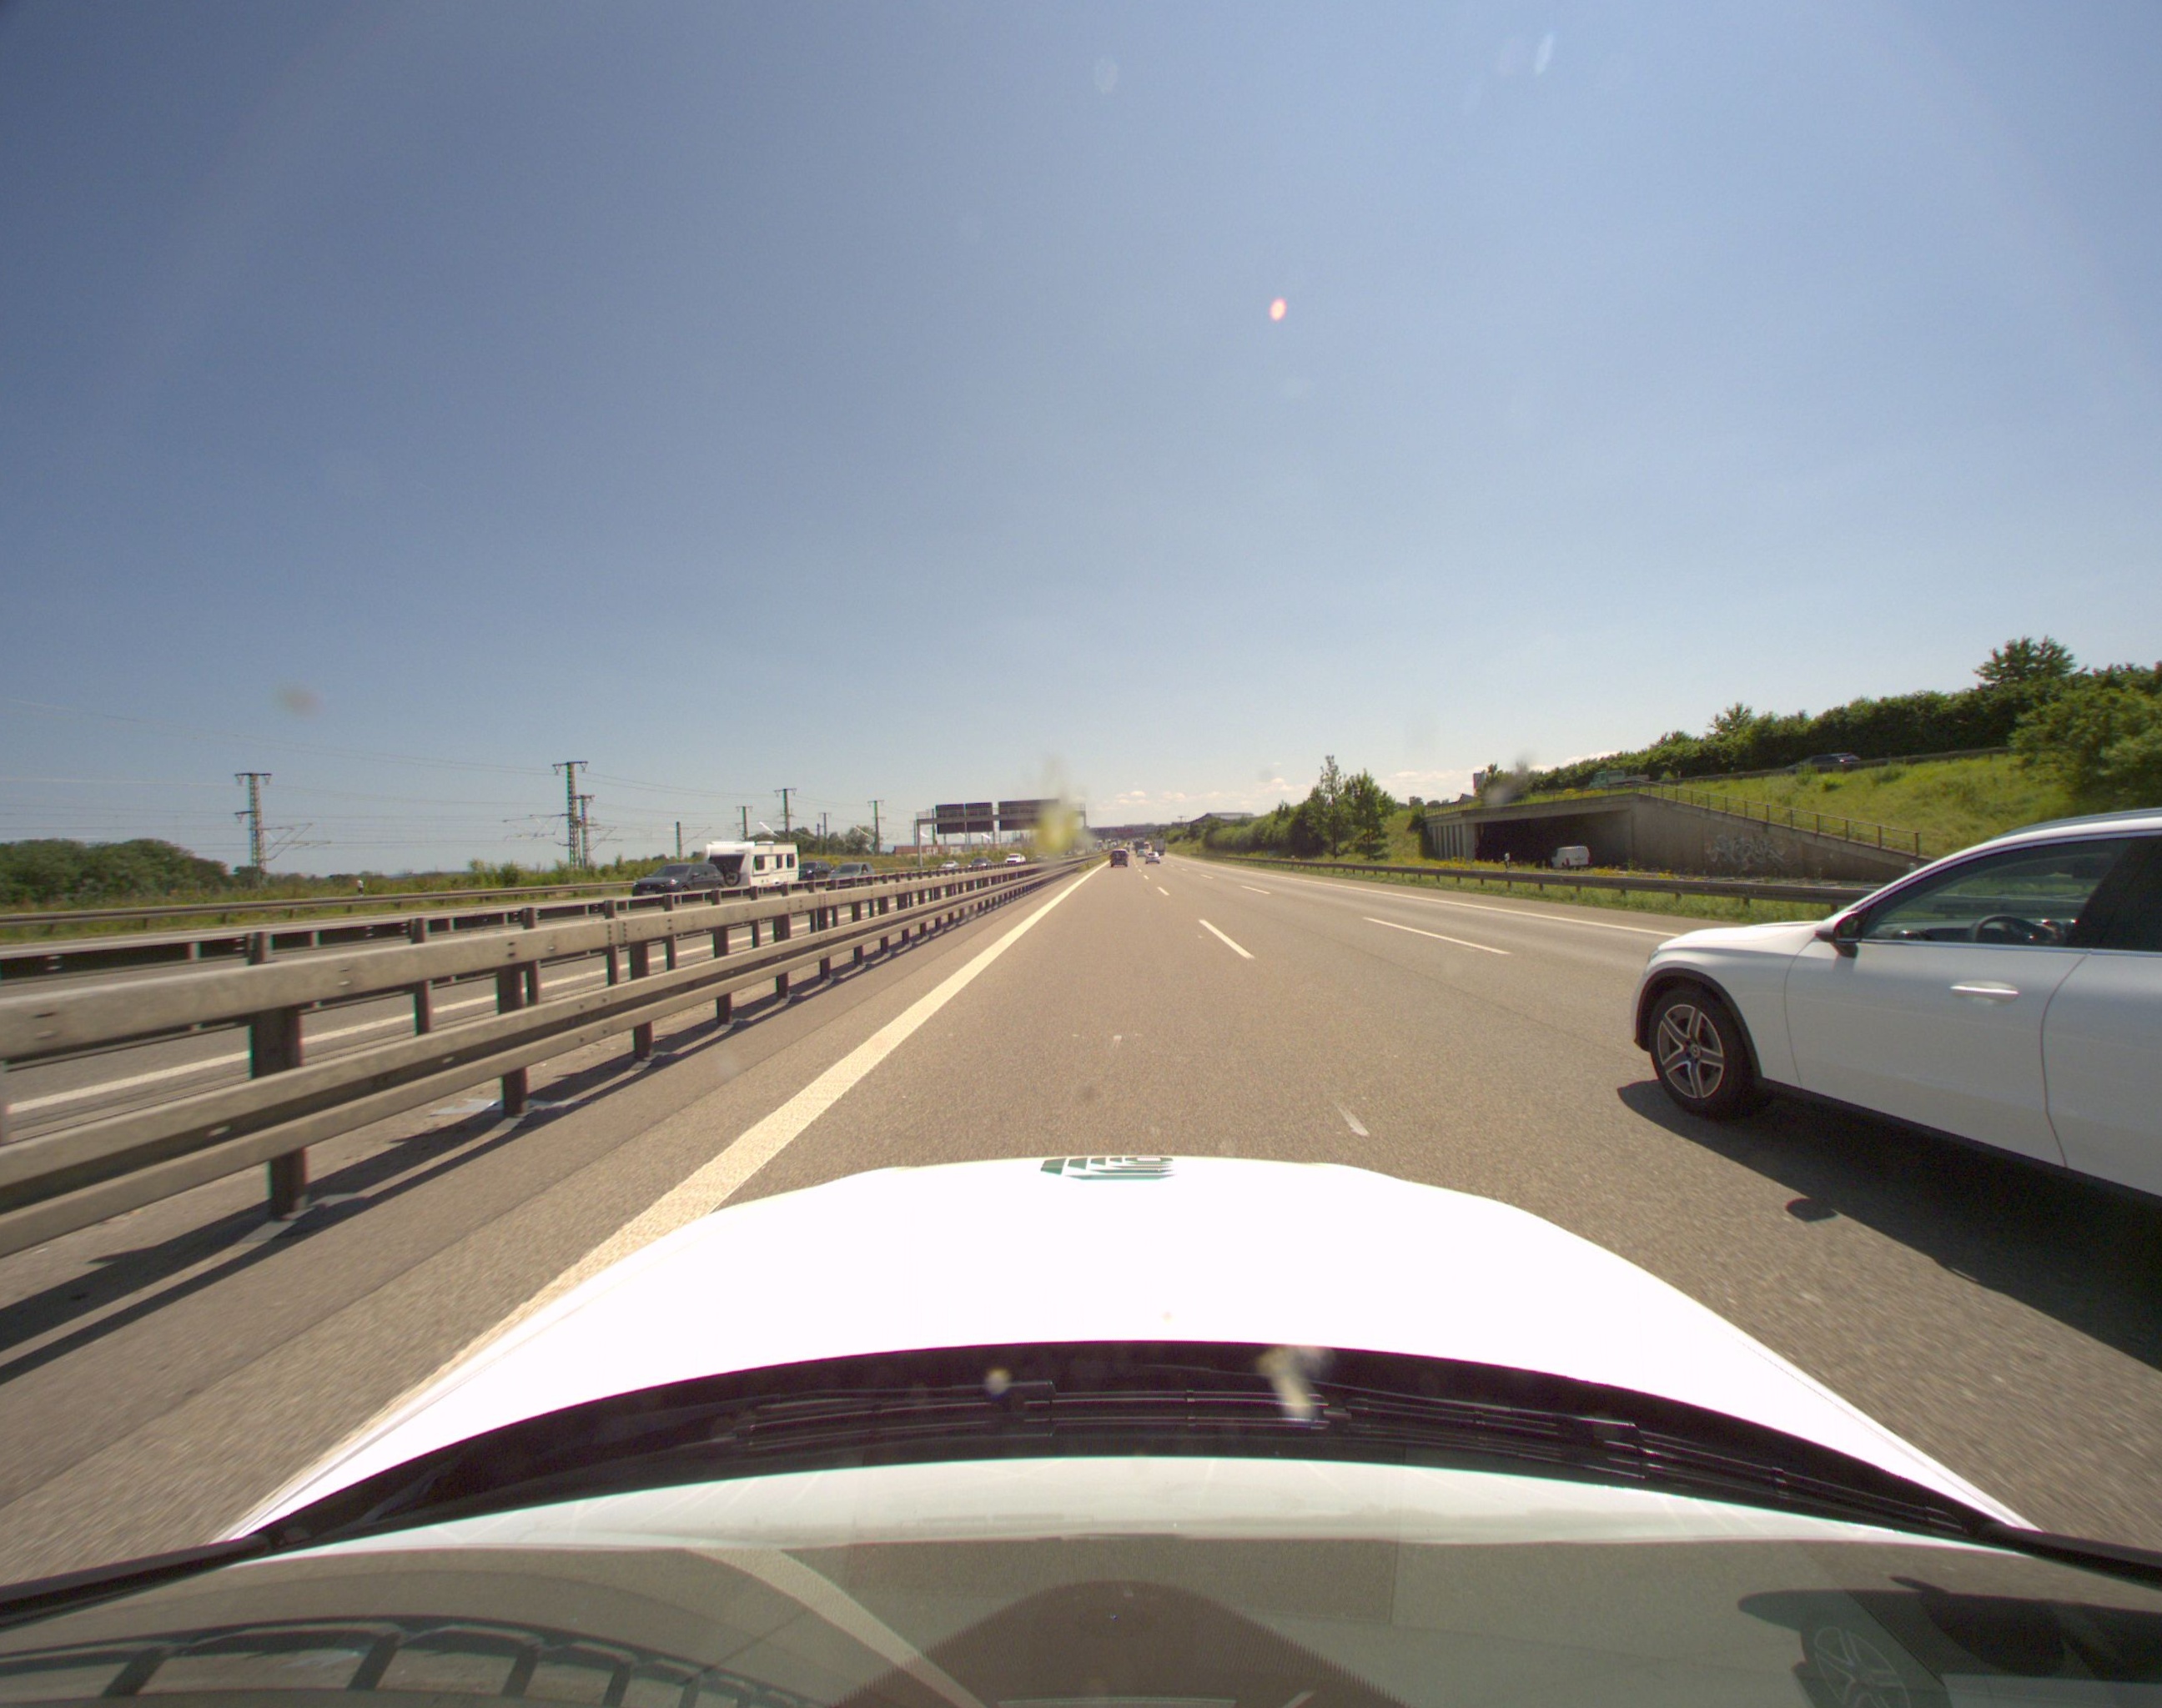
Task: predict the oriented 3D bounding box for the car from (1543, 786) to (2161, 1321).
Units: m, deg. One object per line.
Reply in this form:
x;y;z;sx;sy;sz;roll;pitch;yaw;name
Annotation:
4.269;0.614;3.371;1.892;1.647;4.998;-1;-1;0;car

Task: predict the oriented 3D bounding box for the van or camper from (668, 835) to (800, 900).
-16.024;0.575;38.353;2.507;2.665;8.067;-1;0;2;van or camper

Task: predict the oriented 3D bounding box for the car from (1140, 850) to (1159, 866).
8.497;0.555;101.334;1.920;1.919;4.516;-1;-1;0;car

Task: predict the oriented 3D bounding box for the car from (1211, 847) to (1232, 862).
18.701;0.105;108.342;1.920;1.919;4.516;-1;-1;0;car

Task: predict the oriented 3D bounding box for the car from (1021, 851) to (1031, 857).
-13.567;0.009;201.453;1.940;1.347;4.002;-1;0;2;car

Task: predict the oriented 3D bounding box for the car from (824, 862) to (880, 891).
-11.968;1.147;42.809;1.687;1.347;4.002;-1;0;2;car

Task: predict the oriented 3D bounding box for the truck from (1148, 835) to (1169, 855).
17.971;-2.161;189.991;4.024;4.261;11.763;-1;1;2;truck

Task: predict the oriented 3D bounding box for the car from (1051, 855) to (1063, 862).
-4.608;0.840;154.965;1.940;1.347;4.002;-1;0;2;car

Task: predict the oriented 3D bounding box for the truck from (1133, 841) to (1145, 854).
15.281;-1.735;214.441;2.692;3.109;10.662;-1;-1;2;truck

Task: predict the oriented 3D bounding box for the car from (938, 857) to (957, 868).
-17.712;1.074;108.097;1.758;1.347;4.002;-1;0;2;car

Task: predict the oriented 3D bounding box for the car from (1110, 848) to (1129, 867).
4.028;0.361;85.570;1.919;1.919;4.950;-1;-1;2;car

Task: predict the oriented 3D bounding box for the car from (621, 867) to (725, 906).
-16.022;1.235;32.245;1.758;1.347;4.383;-1;0;2;car

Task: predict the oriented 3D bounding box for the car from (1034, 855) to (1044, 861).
-9.937;0.923;191.040;1.940;1.347;4.002;-1;0;2;car

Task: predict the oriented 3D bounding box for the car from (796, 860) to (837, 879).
-20.934;1.207;64.586;1.758;1.347;4.002;-1;0;2;car

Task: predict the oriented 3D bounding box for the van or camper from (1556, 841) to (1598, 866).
41.171;-0.028;67.681;2.138;2.014;4.326;-1;-1;20;van or camper

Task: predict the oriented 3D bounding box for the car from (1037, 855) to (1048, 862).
-8.196;0.952;172.257;1.940;1.347;4.002;-1;0;2;car

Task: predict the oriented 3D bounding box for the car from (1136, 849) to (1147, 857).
12.288;-0.140;165.794;1.974;1.473;4.001;-2;-1;2;car

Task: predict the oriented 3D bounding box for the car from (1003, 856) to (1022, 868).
-8.455;0.991;101.040;1.940;1.347;4.002;-1;0;2;car

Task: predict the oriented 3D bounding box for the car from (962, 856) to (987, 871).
-10.119;0.857;77.793;1.758;1.347;4.002;-1;0;2;car
